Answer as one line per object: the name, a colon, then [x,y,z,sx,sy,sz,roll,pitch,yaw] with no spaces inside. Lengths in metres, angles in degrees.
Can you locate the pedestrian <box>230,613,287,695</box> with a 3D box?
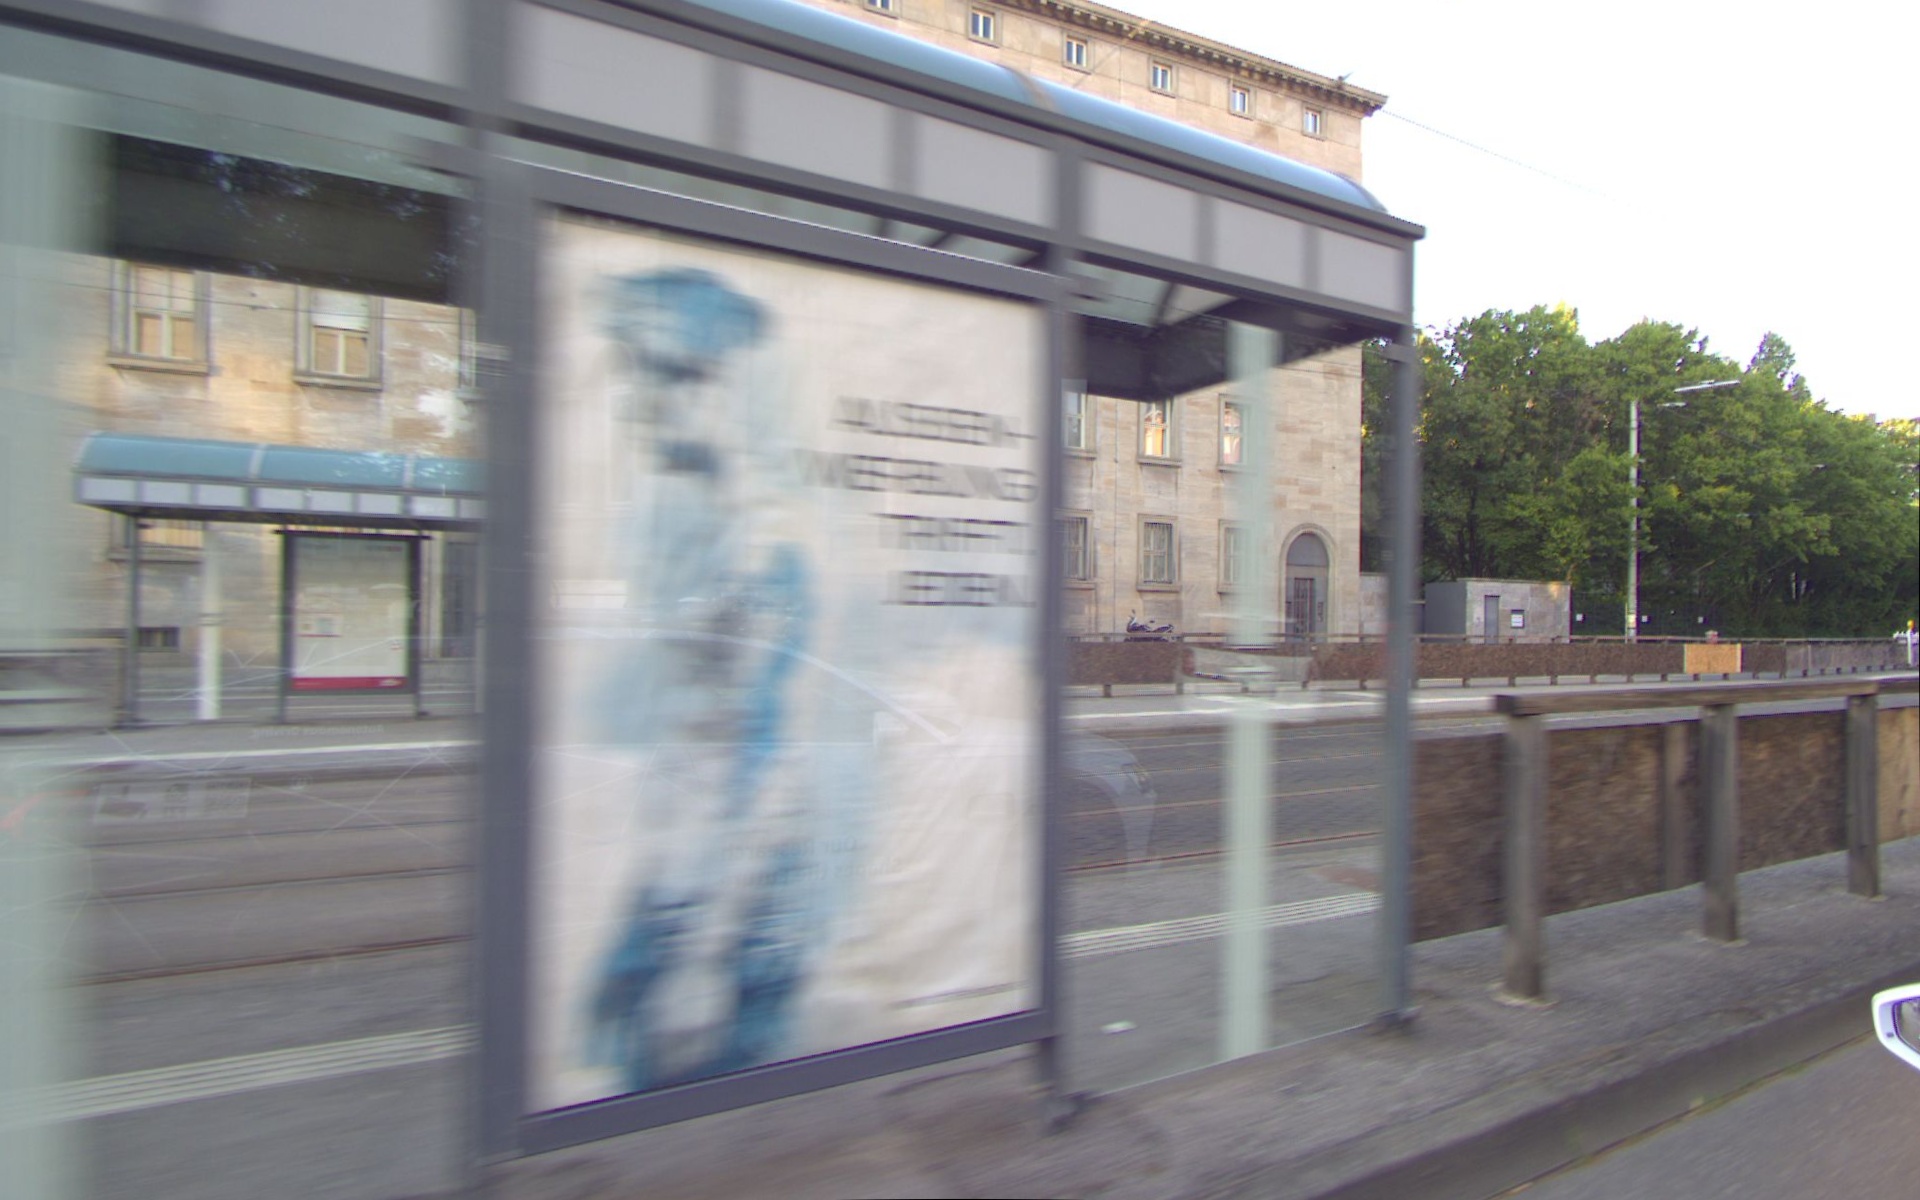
pedestrian: [-13.003,0.998,18.638,0.766,1.490,0.472,1,-1,-25]

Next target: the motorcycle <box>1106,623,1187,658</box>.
motorcycle: [5.917,1.277,31.813,2.618,1.089,0.696,1,-1,-25]
